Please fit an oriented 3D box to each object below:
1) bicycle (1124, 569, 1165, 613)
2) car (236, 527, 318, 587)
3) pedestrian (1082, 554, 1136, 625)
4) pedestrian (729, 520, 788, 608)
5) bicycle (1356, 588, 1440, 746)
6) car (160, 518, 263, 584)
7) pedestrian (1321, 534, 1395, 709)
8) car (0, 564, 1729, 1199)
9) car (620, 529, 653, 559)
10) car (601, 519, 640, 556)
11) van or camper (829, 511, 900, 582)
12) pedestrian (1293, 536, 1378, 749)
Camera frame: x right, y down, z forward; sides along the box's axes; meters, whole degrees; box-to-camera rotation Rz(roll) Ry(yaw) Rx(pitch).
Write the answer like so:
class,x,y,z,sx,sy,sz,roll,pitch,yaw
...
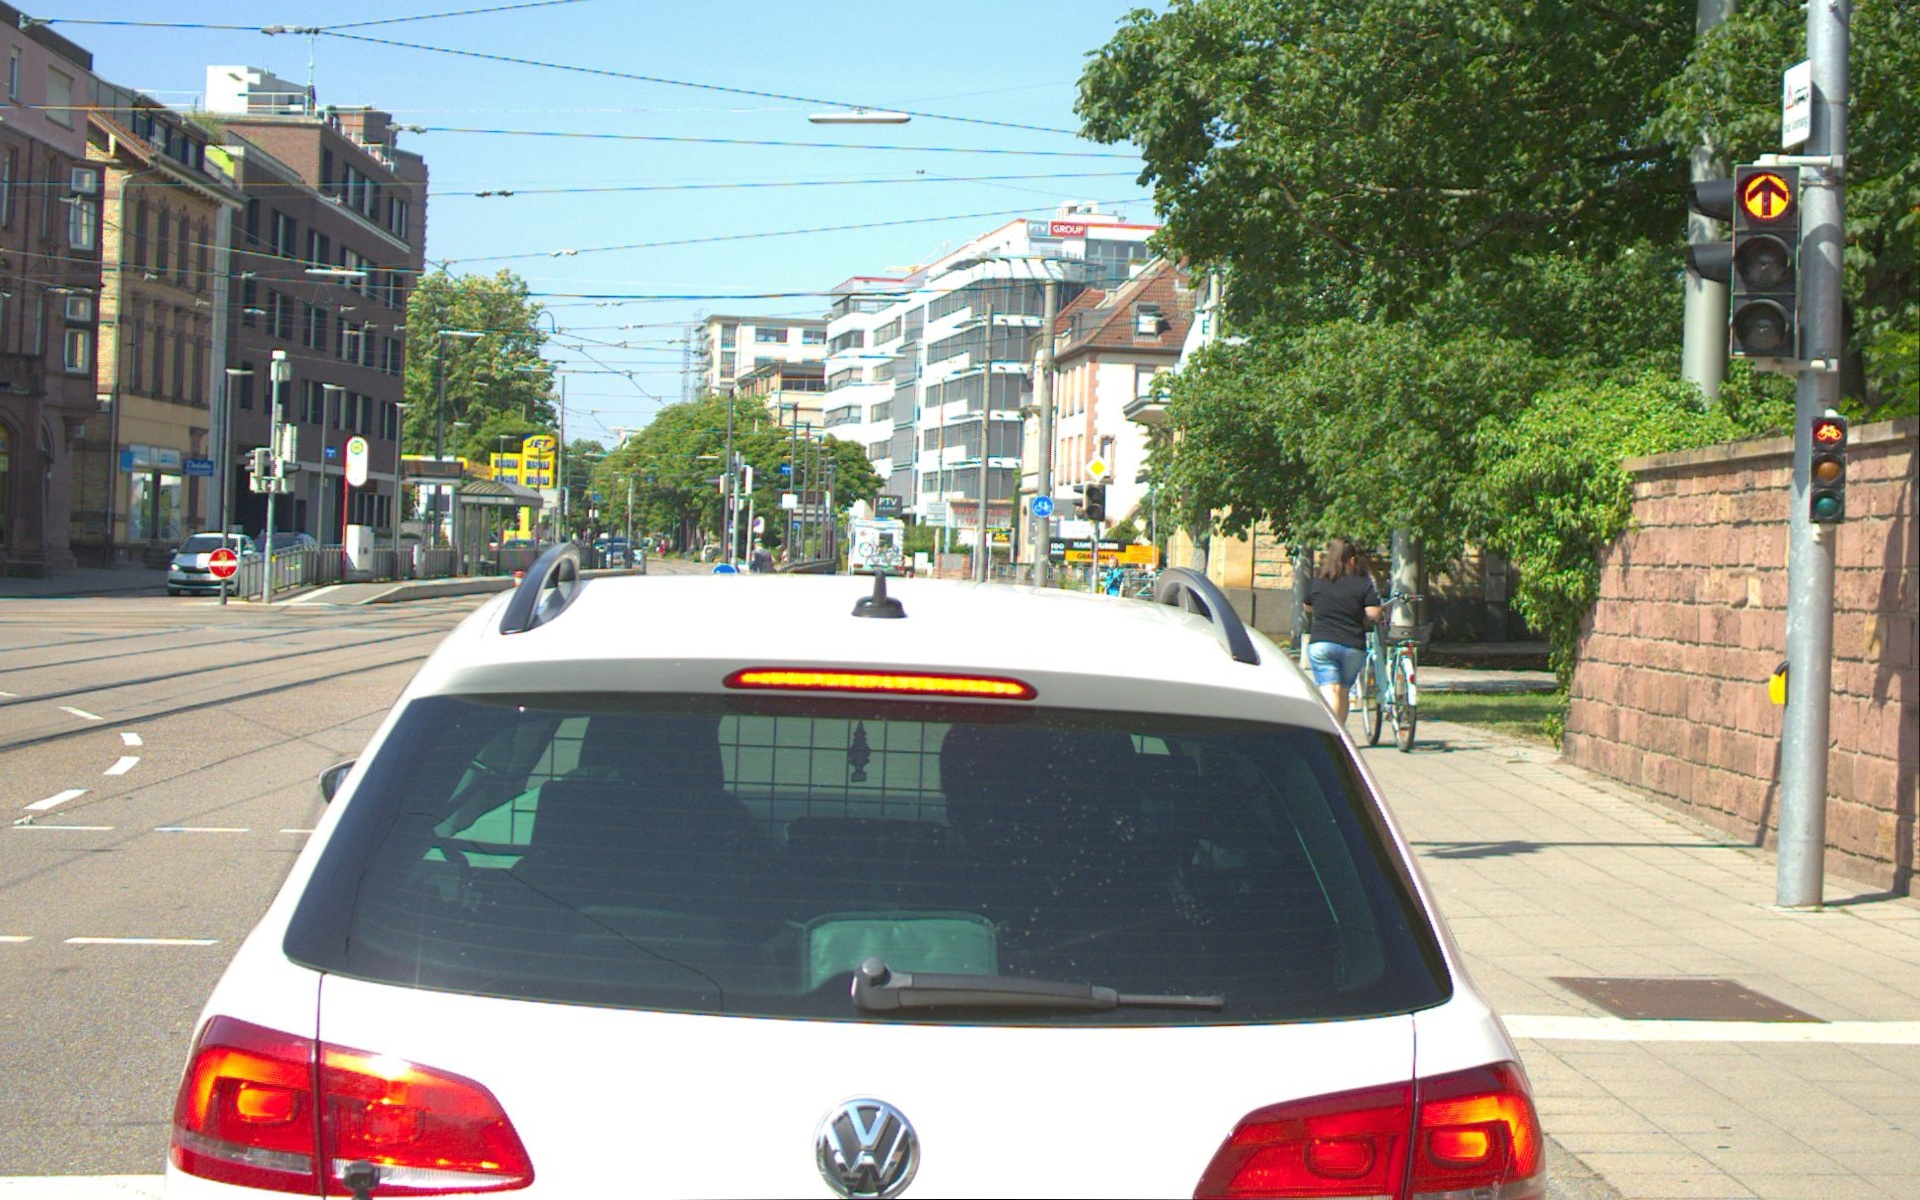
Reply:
class,x,y,z,sx,sy,sz,roll,pitch,yaw
bicycle,4.859,-0.243,90.330,0.726,1.135,2.193,2,1,12
car,-17.484,-1.106,88.118,1.572,1.454,3.815,2,1,-4
pedestrian,3.229,-0.228,74.500,0.857,1.505,0.780,3,1,32
pedestrian,-4.216,-0.762,71.914,0.833,1.803,0.827,3,1,40
bicycle,3.219,0.471,25.212,0.536,1.107,1.806,1,0,9
car,-17.469,-1.145,80.373,1.625,1.426,3.963,3,1,-2
pedestrian,3.886,0.204,33.592,0.650,1.676,0.707,2,1,6
car,-0.152,0.692,5.364,1.752,1.413,3.853,2,1,-1
car,-21.928,-3.801,232.816,1.993,2.007,4.000,1,1,-2
car,-19.372,-3.558,196.304,1.993,2.007,4.000,1,1,-2
van or camper,-4.546,-2.544,162.341,2.943,3.169,6.614,2,1,-4
pedestrian,2.756,0.300,25.256,0.540,1.543,0.663,0,1,-1
